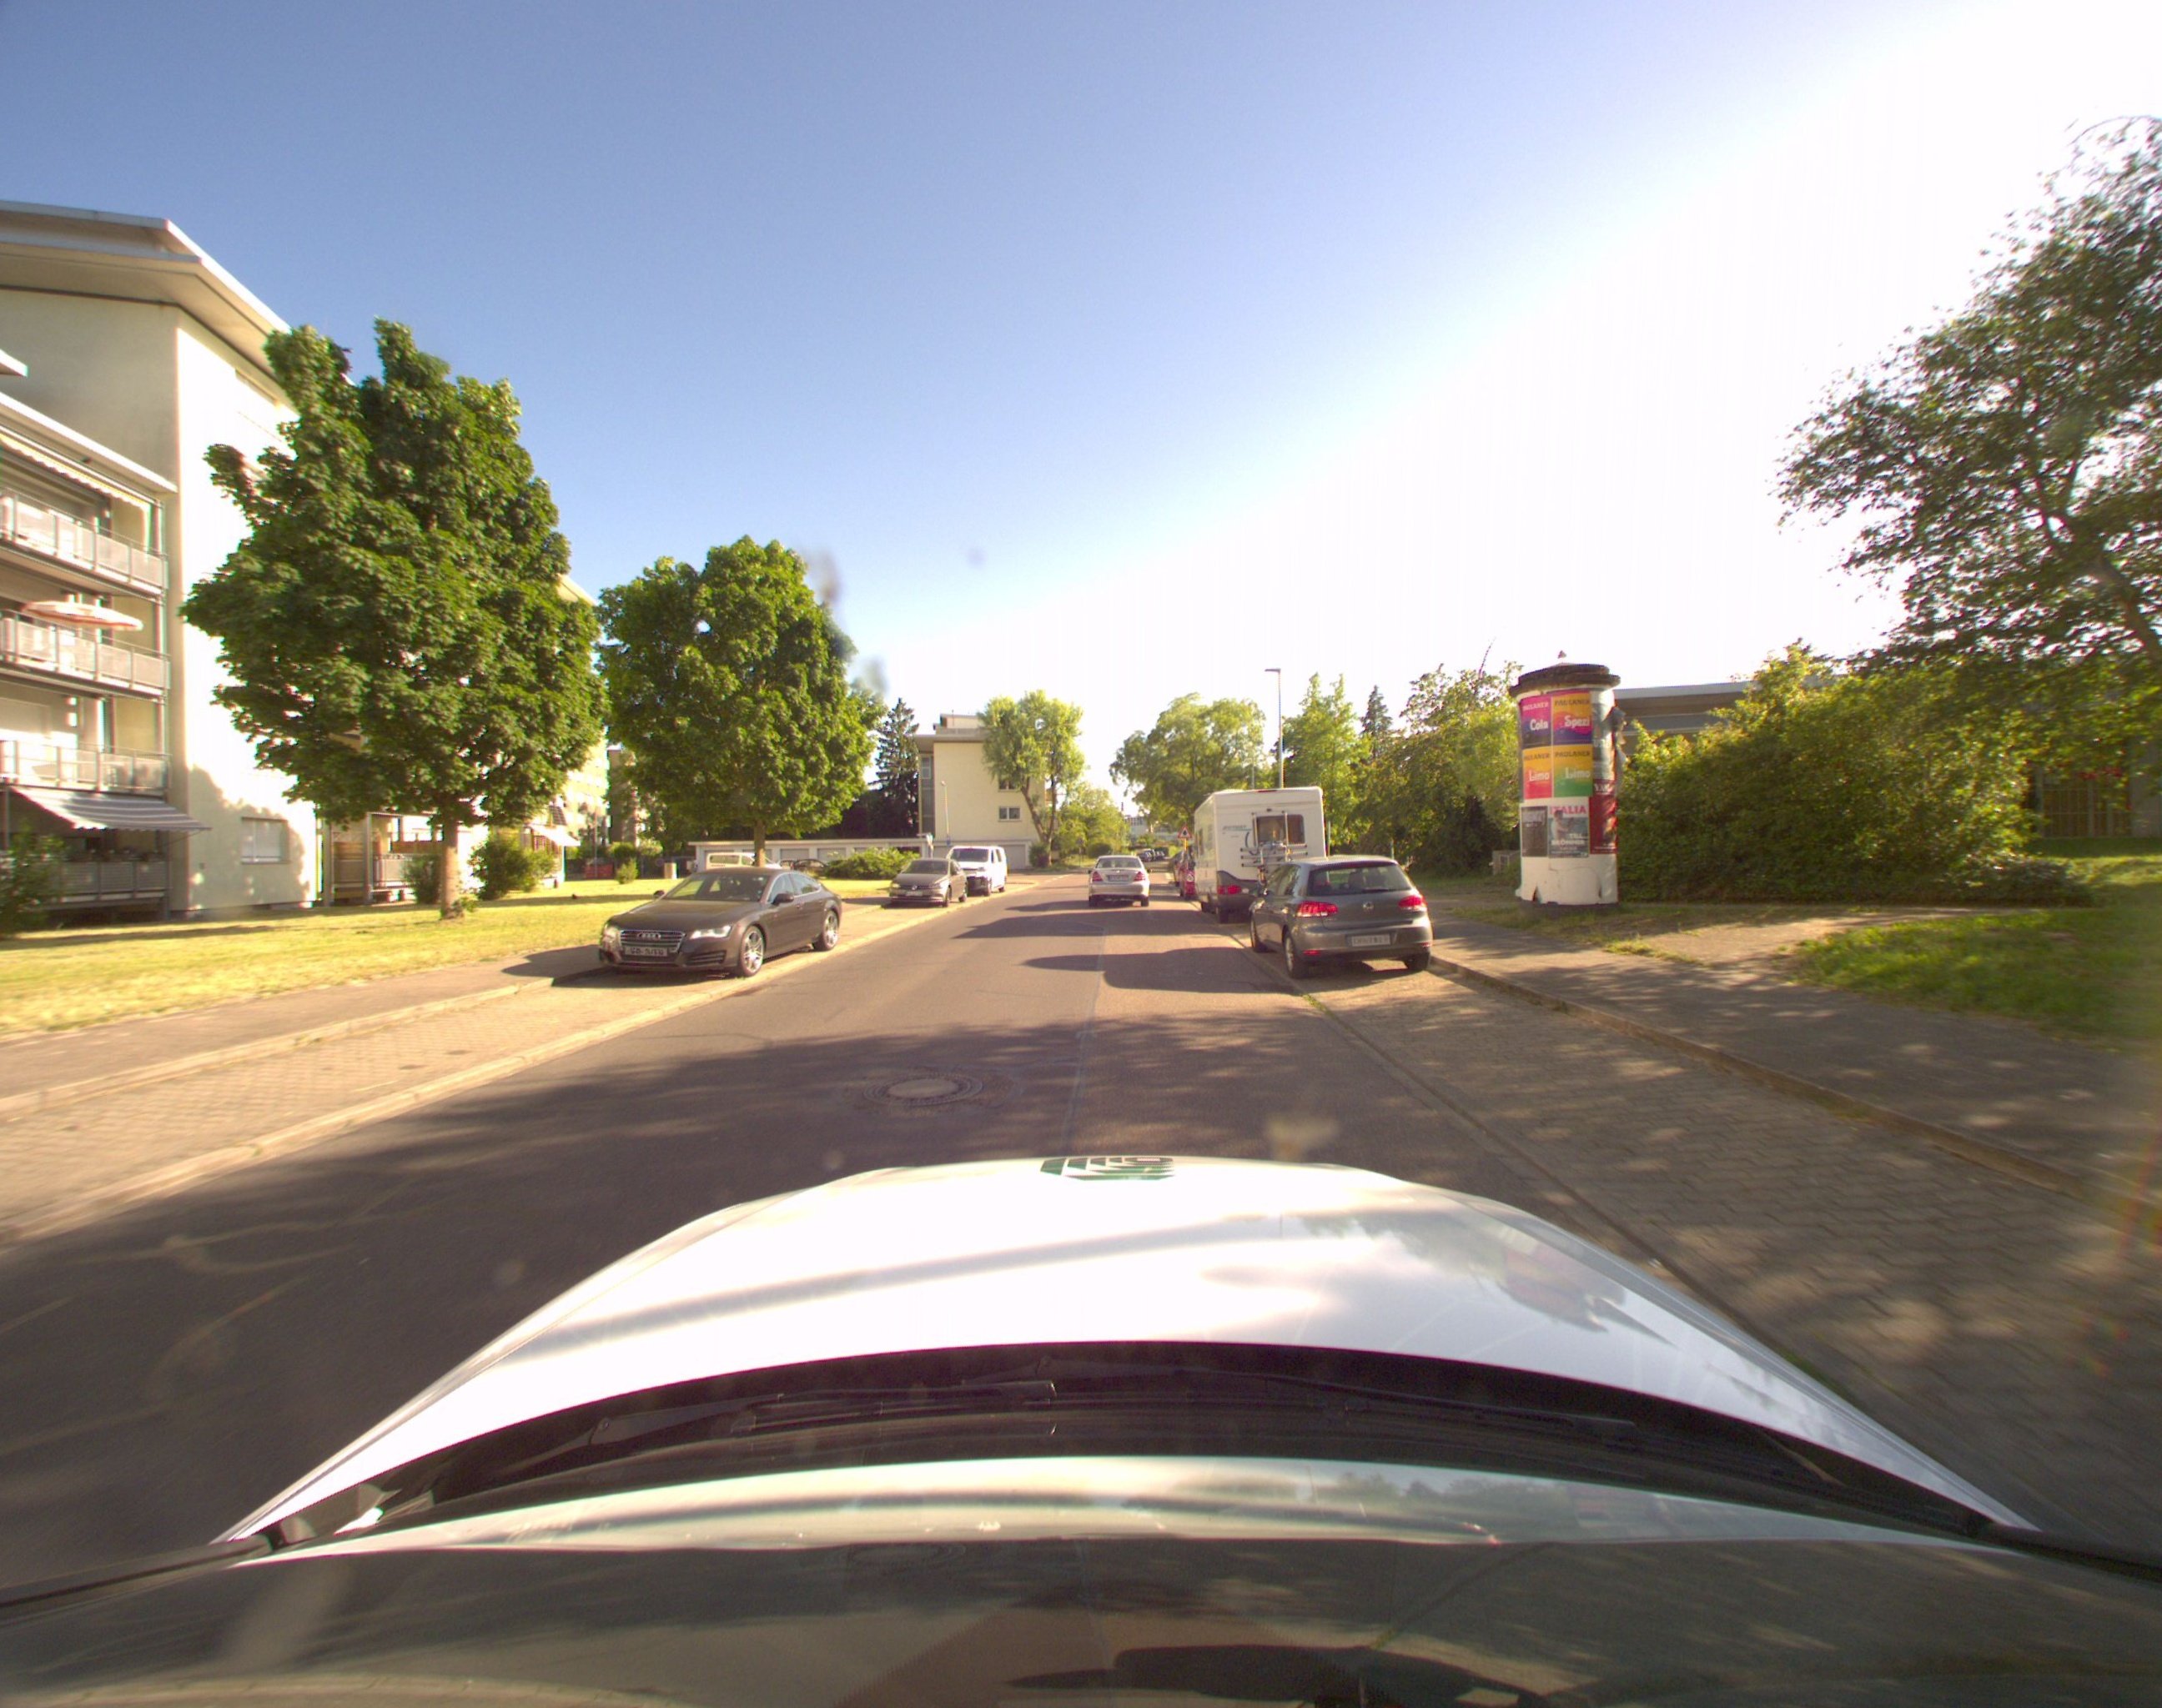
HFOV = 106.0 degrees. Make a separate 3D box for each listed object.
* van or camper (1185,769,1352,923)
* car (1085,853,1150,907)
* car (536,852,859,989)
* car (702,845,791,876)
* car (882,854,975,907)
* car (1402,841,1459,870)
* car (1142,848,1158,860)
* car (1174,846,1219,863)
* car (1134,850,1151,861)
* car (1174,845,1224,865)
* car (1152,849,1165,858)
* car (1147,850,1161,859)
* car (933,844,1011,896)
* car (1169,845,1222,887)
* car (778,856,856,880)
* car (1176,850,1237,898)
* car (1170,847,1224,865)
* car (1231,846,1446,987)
[{"bbox_3d":[3.988,-0.179,18.864,2.487,2.845,6.855,-2,0,2],"label":"van or camper"},{"bbox_3d":[1.096,0.714,23.537,1.725,1.434,3.442,-1,0,4],"label":"car"},{"bbox_3d":[-5.148,0.757,12.024,2.026,1.492,5.260,1,1,3],"label":"car"},{"bbox_3d":[-22.584,0.429,55.048,5.073,1.951,2.244,-2,0,10],"label":"car"},{"bbox_3d":[-4.633,0.758,25.438,1.825,1.518,4.226,1,0,4],"label":"car"},{"bbox_3d":[20.706,0.094,48.354,2.931,1.563,1.709,-1,3,16],"label":"car"},{"bbox_3d":[10.920,-0.014,128.683,1.737,1.688,4.280,-2,0,14],"label":"car"},{"bbox_3d":[12.969,0.086,91.050,4.856,1.723,2.005,-2,0,8],"label":"car"},{"bbox_3d":[8.790,0.173,116.765,1.901,1.490,3.849,-4,0,11],"label":"car"},{"bbox_3d":[12.101,0.099,83.639,4.867,1.924,2.000,-2,0,1],"label":"car"},{"bbox_3d":[13.543,-0.155,141.610,1.738,1.520,4.207,-2,0,12],"label":"car"},{"bbox_3d":[12.111,0.120,135.223,1.738,1.330,3.463,-4,0,13],"label":"car"},{"bbox_3d":[-4.157,0.571,31.925,2.005,1.885,5.196,0,0,4],"label":"car"},{"bbox_3d":[5.117,0.495,36.909,1.768,1.680,4.647,-4,0,2],"label":"car"},{"bbox_3d":[-17.518,0.906,54.175,4.415,1.460,2.049,-2,0,9],"label":"car"},{"bbox_3d":[4.199,0.633,27.724,1.684,1.474,4.004,-2,0,3],"label":"car"},{"bbox_3d":[10.439,0.158,73.654,4.759,1.549,2.015,-1,0,5],"label":"car"},{"bbox_3d":[3.428,0.711,11.765,1.714,1.524,4.430,-4,0,1],"label":"car"}]
